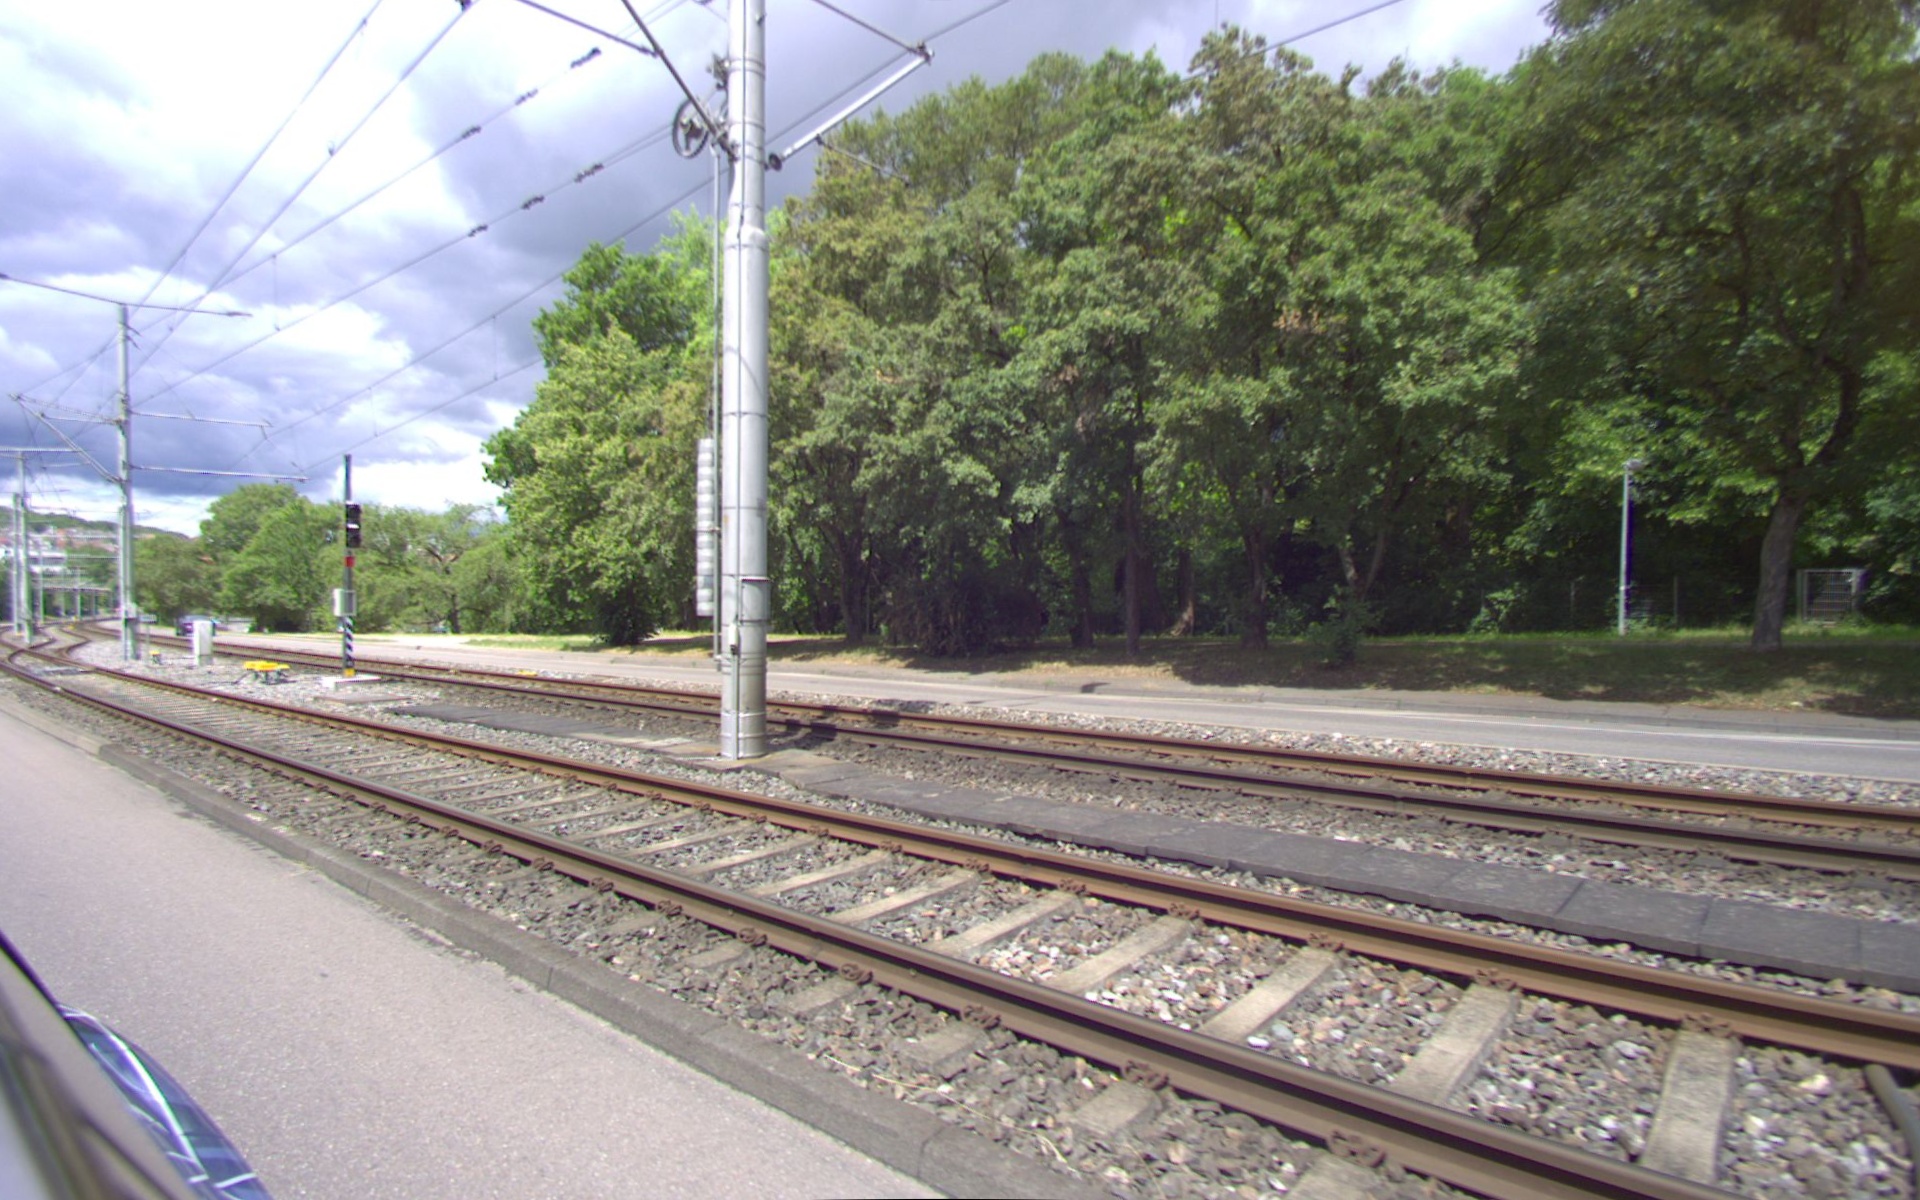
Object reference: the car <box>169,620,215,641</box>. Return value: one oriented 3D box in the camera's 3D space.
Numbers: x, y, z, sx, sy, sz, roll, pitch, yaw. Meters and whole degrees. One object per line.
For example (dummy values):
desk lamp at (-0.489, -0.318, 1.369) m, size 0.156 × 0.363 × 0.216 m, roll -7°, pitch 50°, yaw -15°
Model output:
car at (-53.148, 2.083, 69.967) m, size 4.863 × 1.402 × 1.815 m, roll -1°, pitch -3°, yaw 44°

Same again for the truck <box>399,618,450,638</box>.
truck at (-83.012, 4.336, 156.883) m, size 6.519 × 2.877 × 2.684 m, roll 3°, pitch -3°, yaw -39°
